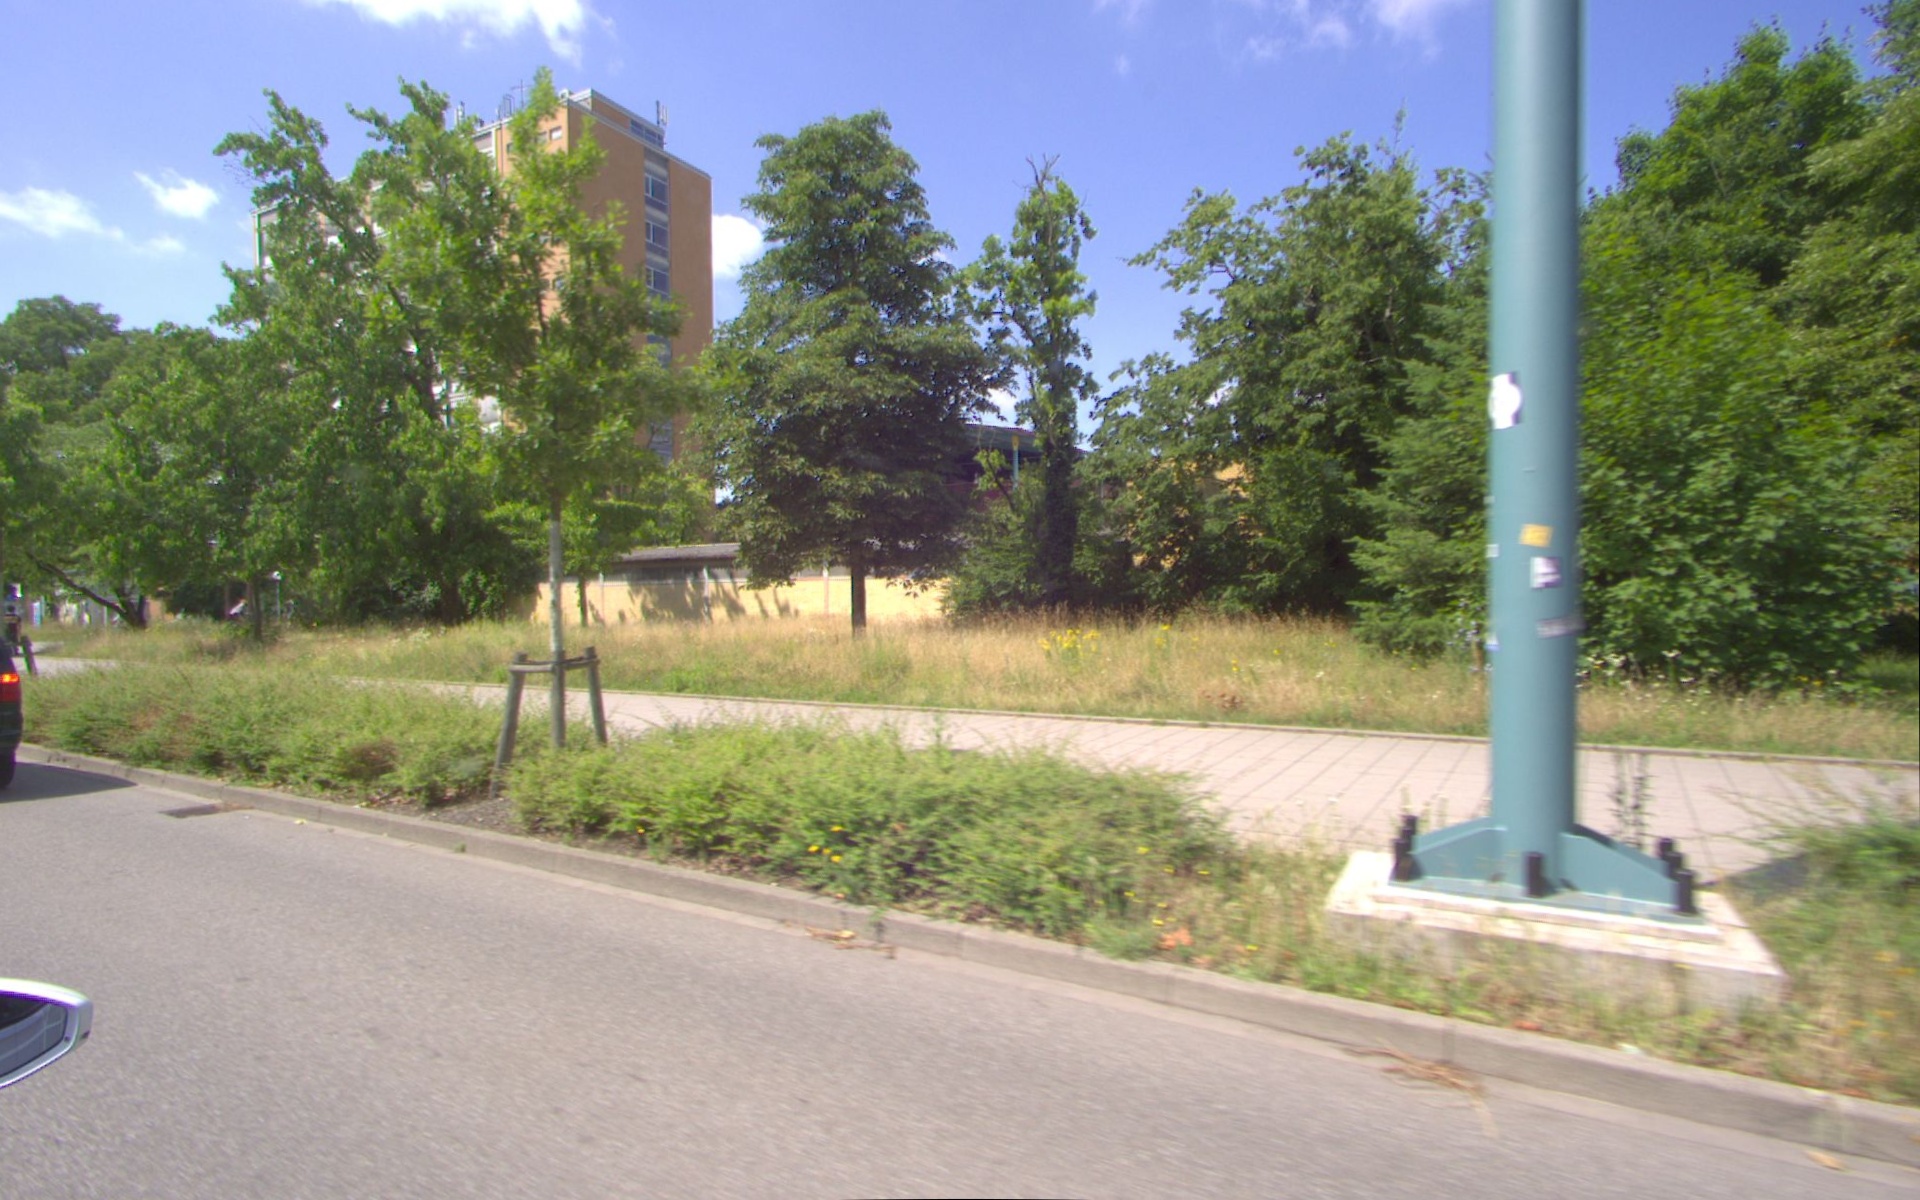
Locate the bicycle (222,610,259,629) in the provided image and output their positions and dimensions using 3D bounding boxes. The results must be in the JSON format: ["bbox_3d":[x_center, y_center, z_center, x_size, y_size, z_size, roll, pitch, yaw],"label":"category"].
[{"bbox_3d":[-37.409,1.006,52.063,1.557,0.968,0.482,0,0,-39],"label":"bicycle"}]

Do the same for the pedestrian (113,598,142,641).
[{"bbox_3d":[-40.912,0.953,49.234,0.832,2.085,0.740,0,1,16],"label":"pedestrian"}]

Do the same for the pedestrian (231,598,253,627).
[{"bbox_3d":[-37.354,0.635,52.097,0.891,1.491,0.482,-1,1,-39],"label":"pedestrian"}]

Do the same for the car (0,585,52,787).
[{"bbox_3d":[-10.473,0.750,9.417,4.326,1.757,1.809,0,-1,33],"label":"car"}]

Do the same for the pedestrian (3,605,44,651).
[{"bbox_3d":[-32.049,0.937,34.273,0.823,1.559,0.843,0,1,32],"label":"pedestrian"}]
